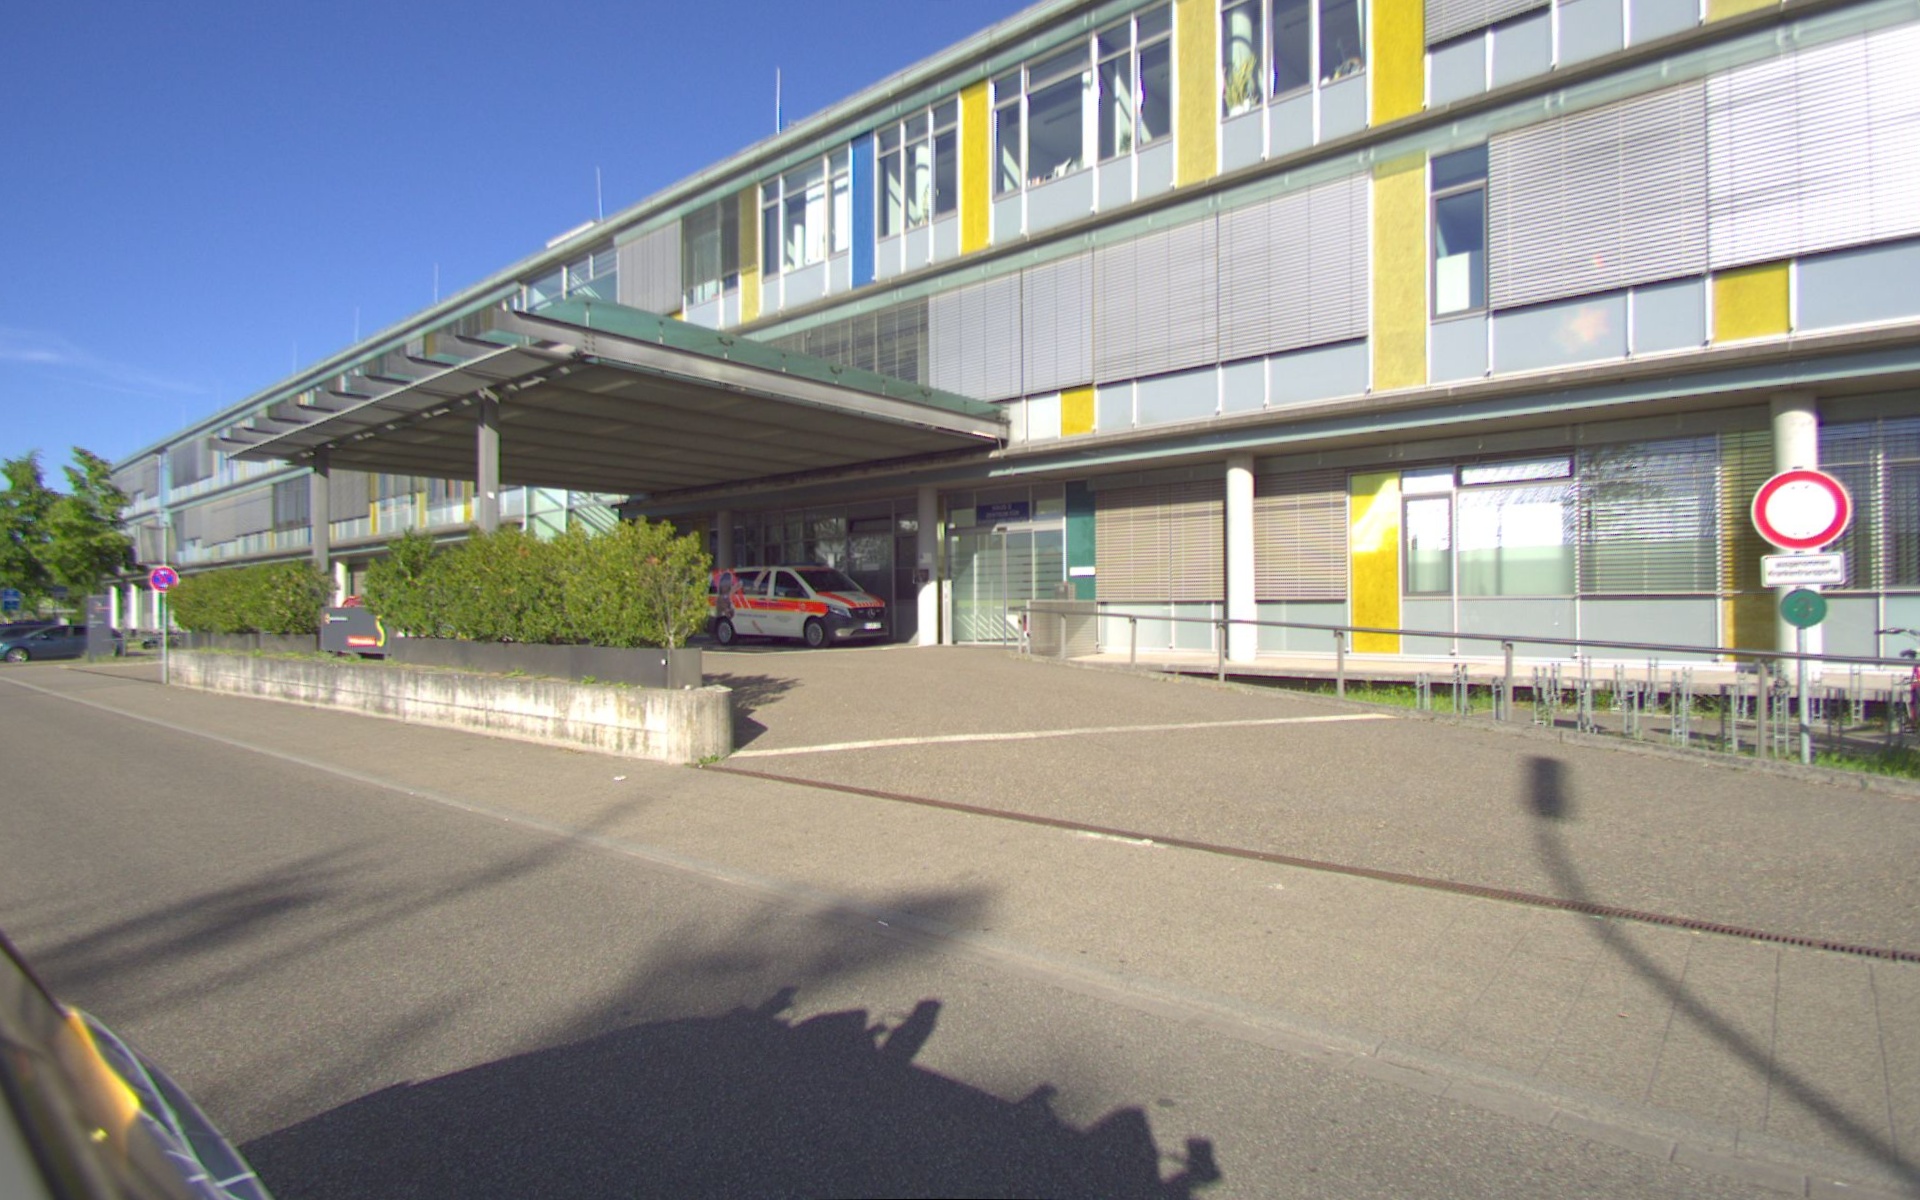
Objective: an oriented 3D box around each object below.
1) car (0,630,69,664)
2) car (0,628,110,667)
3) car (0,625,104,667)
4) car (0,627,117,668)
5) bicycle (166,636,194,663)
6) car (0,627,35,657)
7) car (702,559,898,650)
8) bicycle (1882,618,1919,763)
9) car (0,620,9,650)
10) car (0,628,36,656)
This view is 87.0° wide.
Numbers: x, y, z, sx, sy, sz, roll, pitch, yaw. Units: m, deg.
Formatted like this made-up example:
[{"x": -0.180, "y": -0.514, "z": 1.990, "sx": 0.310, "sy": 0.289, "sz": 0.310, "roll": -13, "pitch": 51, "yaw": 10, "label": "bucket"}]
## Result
[{"x": -46.670, "y": 2.335, "z": 49.833, "sx": 1.822, "sy": 1.499, "sz": 3.942, "roll": -1, "pitch": 1, "yaw": 39, "label": "car"}, {"x": -37.520, "y": 1.929, "z": 41.386, "sx": 1.729, "sy": 1.448, "sz": 3.949, "roll": -2, "pitch": -1, "yaw": 38, "label": "car"}, {"x": -39.443, "y": 1.943, "z": 43.156, "sx": 1.958, "sy": 1.664, "sz": 4.180, "roll": -2, "pitch": -1, "yaw": 38, "label": "car"}, {"x": -35.776, "y": 1.839, "z": 39.554, "sx": 1.752, "sy": 1.478, "sz": 4.090, "roll": -2, "pitch": -1, "yaw": 39, "label": "car"}, {"x": -34.418, "y": 2.170, "z": 44.654, "sx": 1.778, "sy": 1.151, "sz": 0.629, "roll": -2, "pitch": -2, "yaw": 40, "label": "bicycle"}, {"x": -56.294, "y": 2.466, "z": 58.140, "sx": 1.997, "sy": 1.639, "sz": 4.309, "roll": -1, "pitch": 1, "yaw": 37, "label": "car"}, {"x": -3.785, "y": 0.153, "z": 23.458, "sx": 4.708, "sy": 1.905, "sz": 1.899, "roll": -2, "pitch": -2, "yaw": 41, "label": "car"}, {"x": 7.840, "y": 0.707, "z": 7.954, "sx": 0.534, "sy": 1.132, "sz": 1.702, "roll": -1, "pitch": -2, "yaw": 31, "label": "bicycle"}, {"x": -63.989, "y": 2.338, "z": 64.794, "sx": 1.999, "sy": 1.877, "sz": 4.302, "roll": -2, "pitch": 0, "yaw": 42, "label": "car"}, {"x": -52.387, "y": 2.293, "z": 54.225, "sx": 1.822, "sy": 1.433, "sz": 4.051, "roll": -1, "pitch": 1, "yaw": 39, "label": "car"}]
